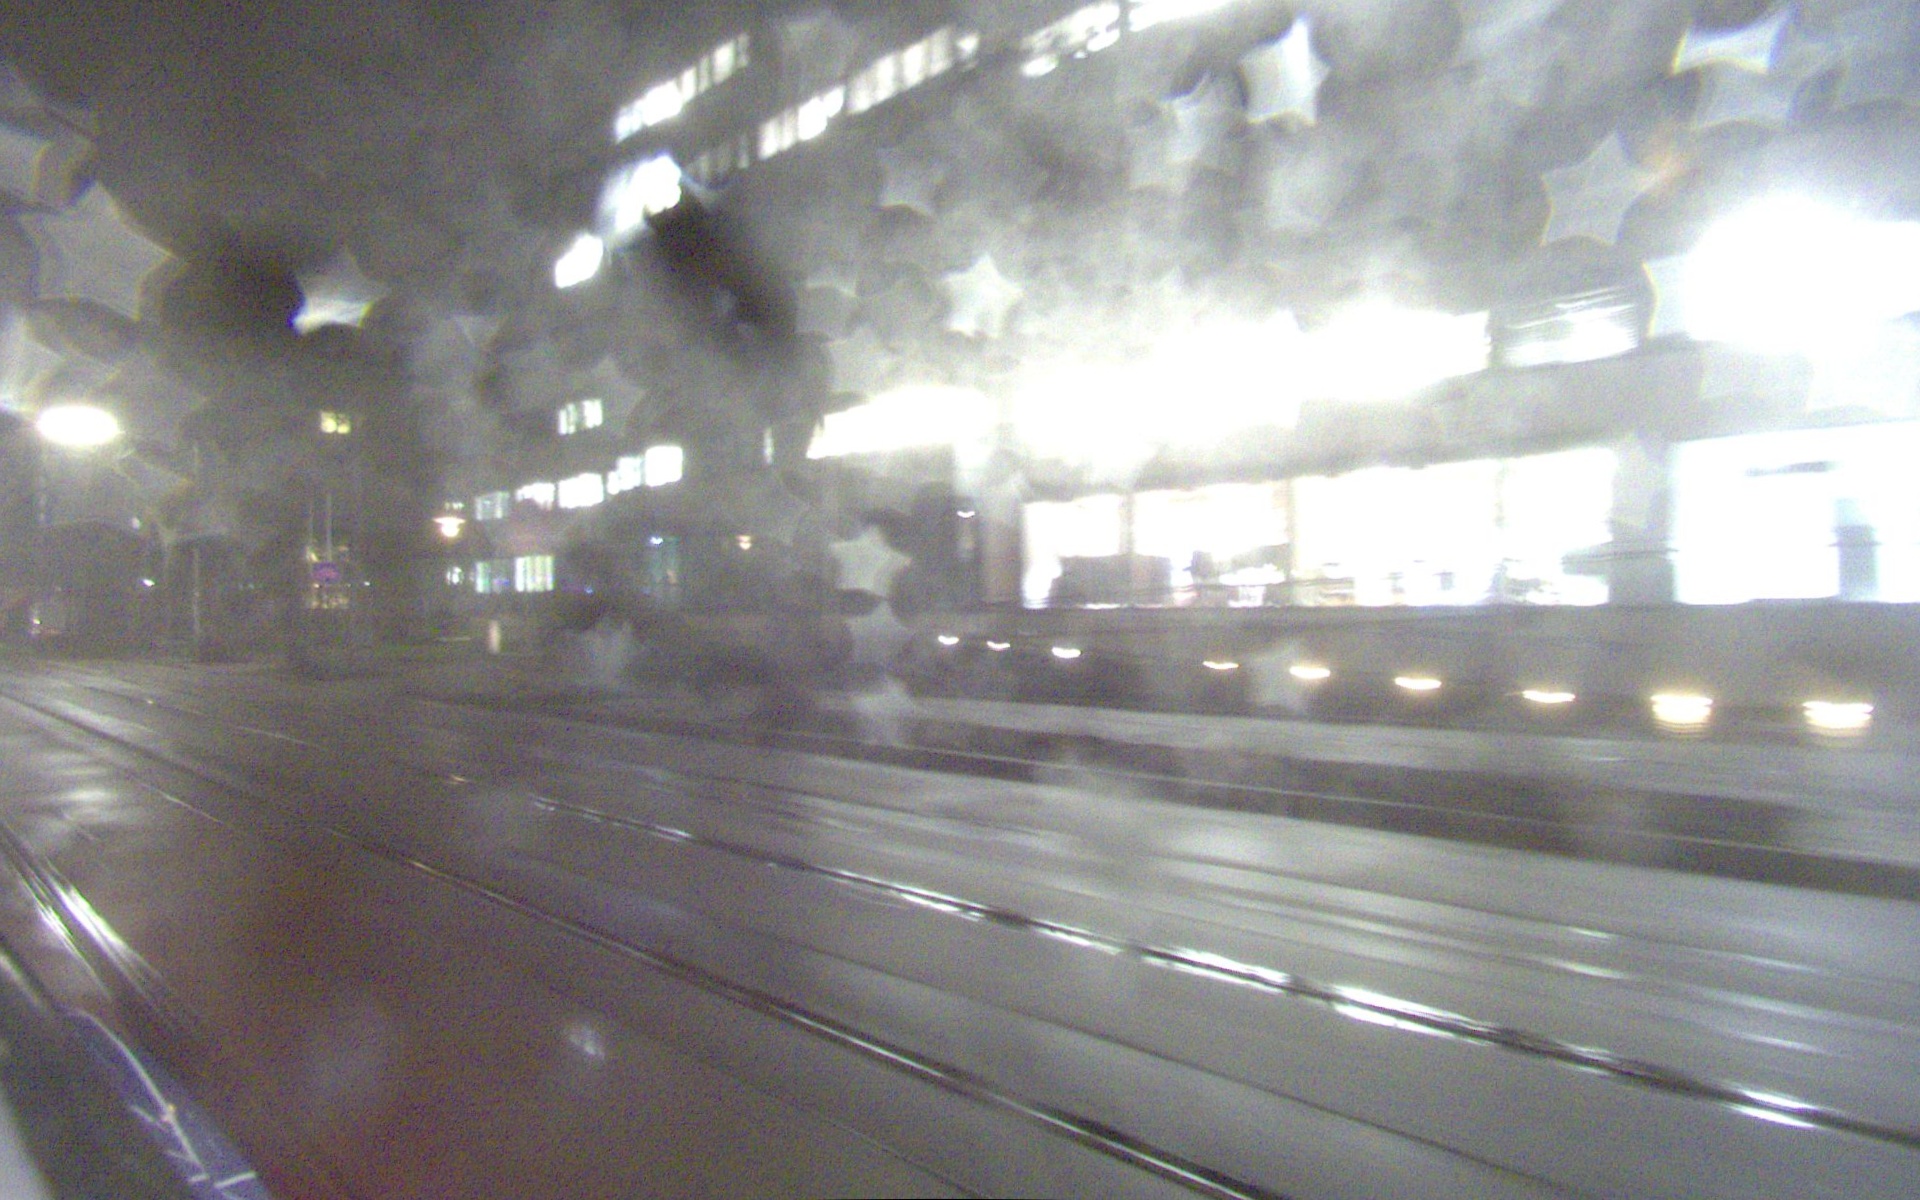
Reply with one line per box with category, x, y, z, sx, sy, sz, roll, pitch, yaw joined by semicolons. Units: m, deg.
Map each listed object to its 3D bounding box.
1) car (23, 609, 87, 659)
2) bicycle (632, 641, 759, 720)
car;-50.243;1.918;56.122;6.392;2.611;2.161;-3;-2;44
bicycle;-3.995;1.192;15.388;0.627;1.086;1.834;-2;-2;41
